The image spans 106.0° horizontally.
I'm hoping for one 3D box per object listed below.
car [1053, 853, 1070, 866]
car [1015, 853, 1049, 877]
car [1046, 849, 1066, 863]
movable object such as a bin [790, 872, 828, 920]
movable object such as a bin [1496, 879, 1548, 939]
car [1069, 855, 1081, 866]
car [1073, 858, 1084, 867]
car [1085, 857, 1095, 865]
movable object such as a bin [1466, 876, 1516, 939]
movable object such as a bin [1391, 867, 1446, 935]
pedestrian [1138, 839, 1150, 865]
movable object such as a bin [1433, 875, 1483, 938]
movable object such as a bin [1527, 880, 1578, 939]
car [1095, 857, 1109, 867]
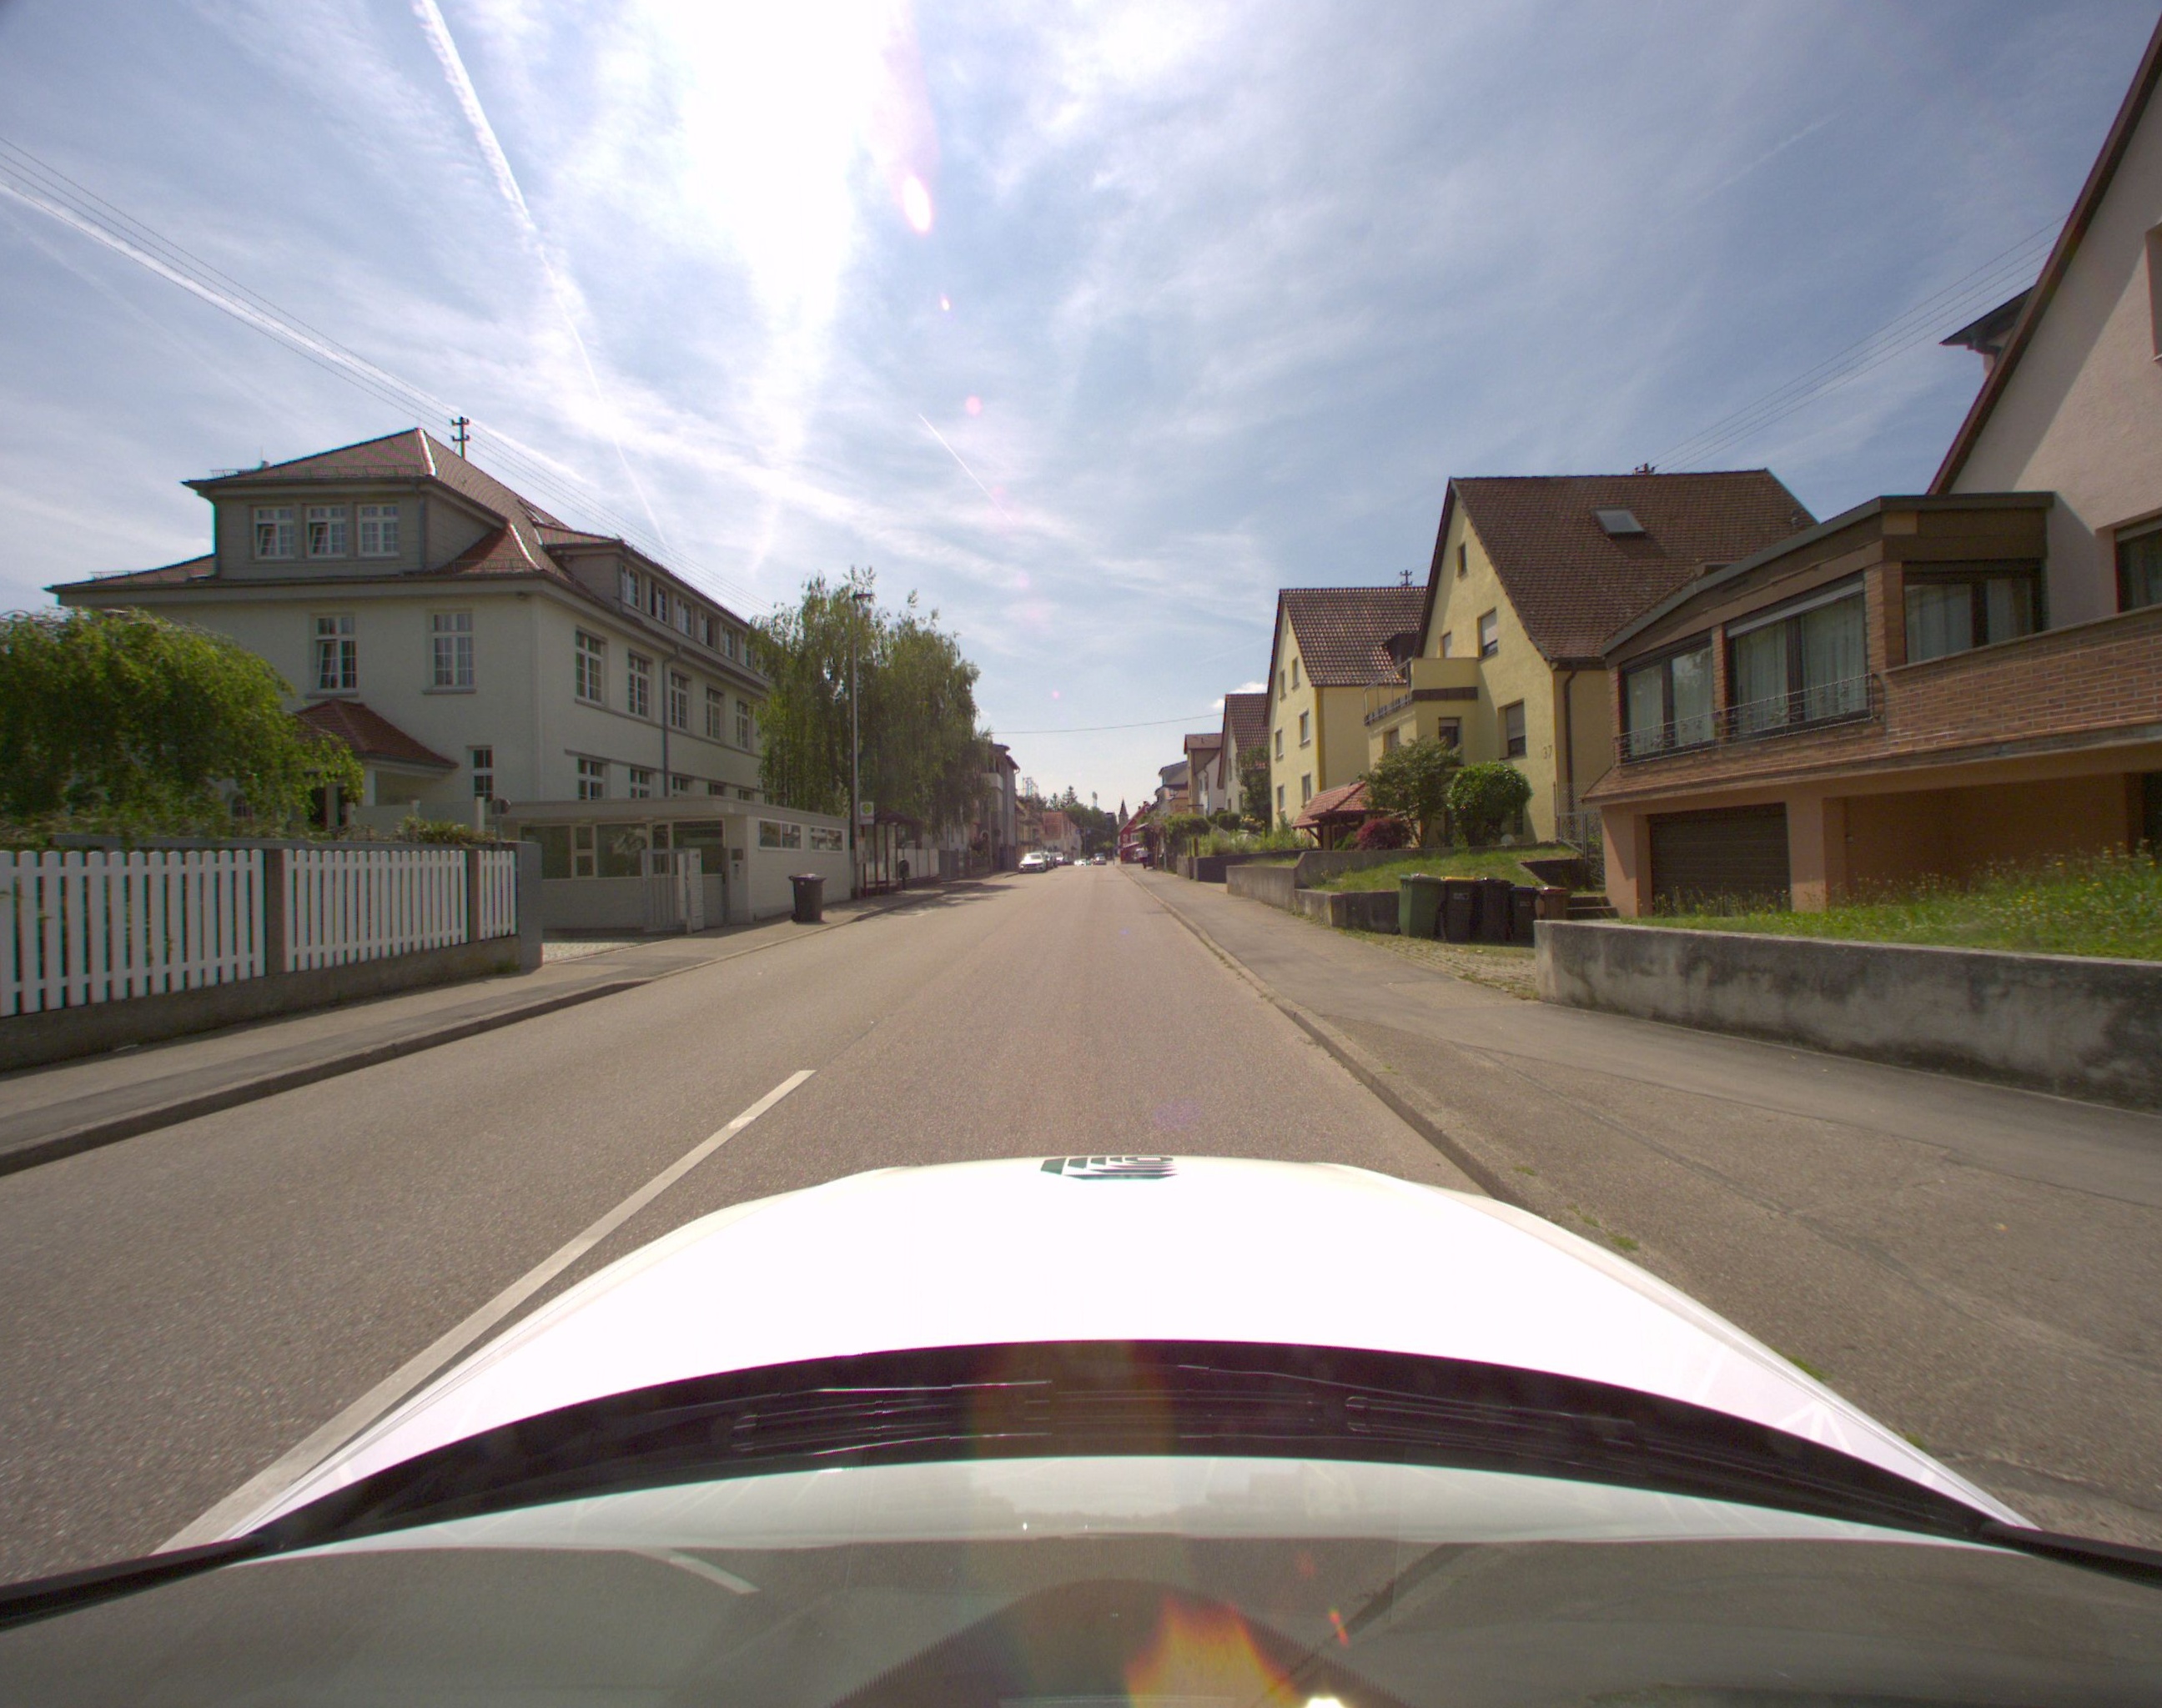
[{"bbox_3d":[-2.595,0.742,109.533,1.987,1.560,4.314,-2,0,1],"label":"car"},{"bbox_3d":[-3.599,0.782,60.561,2.103,1.560,4.314,-2,0,1],"label":"car"},{"bbox_3d":[-2.926,0.184,96.097,1.987,1.560,4.314,-2,0,1],"label":"car"},{"bbox_3d":[-6.300,0.967,18.891,0.605,1.046,0.725,-1,2,1],"label":"movable object such as a bin"},{"bbox_3d":[7.488,0.924,13.842,0.526,0.951,0.564,3,0,1],"label":"movable object such as a bin"},{"bbox_3d":[-1.099,1.227,157.805,1.985,2.013,4.004,-2,0,3],"label":"car"},{"bbox_3d":[-0.422,1.487,148.633,1.835,1.464,3.997,-3,0,-2],"label":"car"},{"bbox_3d":[1.746,1.378,158.196,1.833,1.464,4.002,-3,0,2],"label":"car"},{"bbox_3d":[6.942,0.895,13.817,0.526,0.989,0.564,3,0,1],"label":"movable object such as a bin"},{"bbox_3d":[5.723,0.787,13.836,0.581,1.078,0.734,3,0,1],"label":"movable object such as a bin"},{"bbox_3d":[4.363,-0.127,56.569,0.644,1.729,0.608,-4,0,1],"label":"pedestrian"},{"bbox_3d":[6.387,0.875,13.829,0.526,0.989,0.564,5,0,1],"label":"movable object such as a bin"},{"bbox_3d":[8.059,0.938,13.925,0.526,0.951,0.564,2,0,1],"label":"movable object such as a bin"},{"bbox_3d":[3.340,1.234,129.293,1.988,1.560,4.311,-2,0,-2],"label":"car"}]
